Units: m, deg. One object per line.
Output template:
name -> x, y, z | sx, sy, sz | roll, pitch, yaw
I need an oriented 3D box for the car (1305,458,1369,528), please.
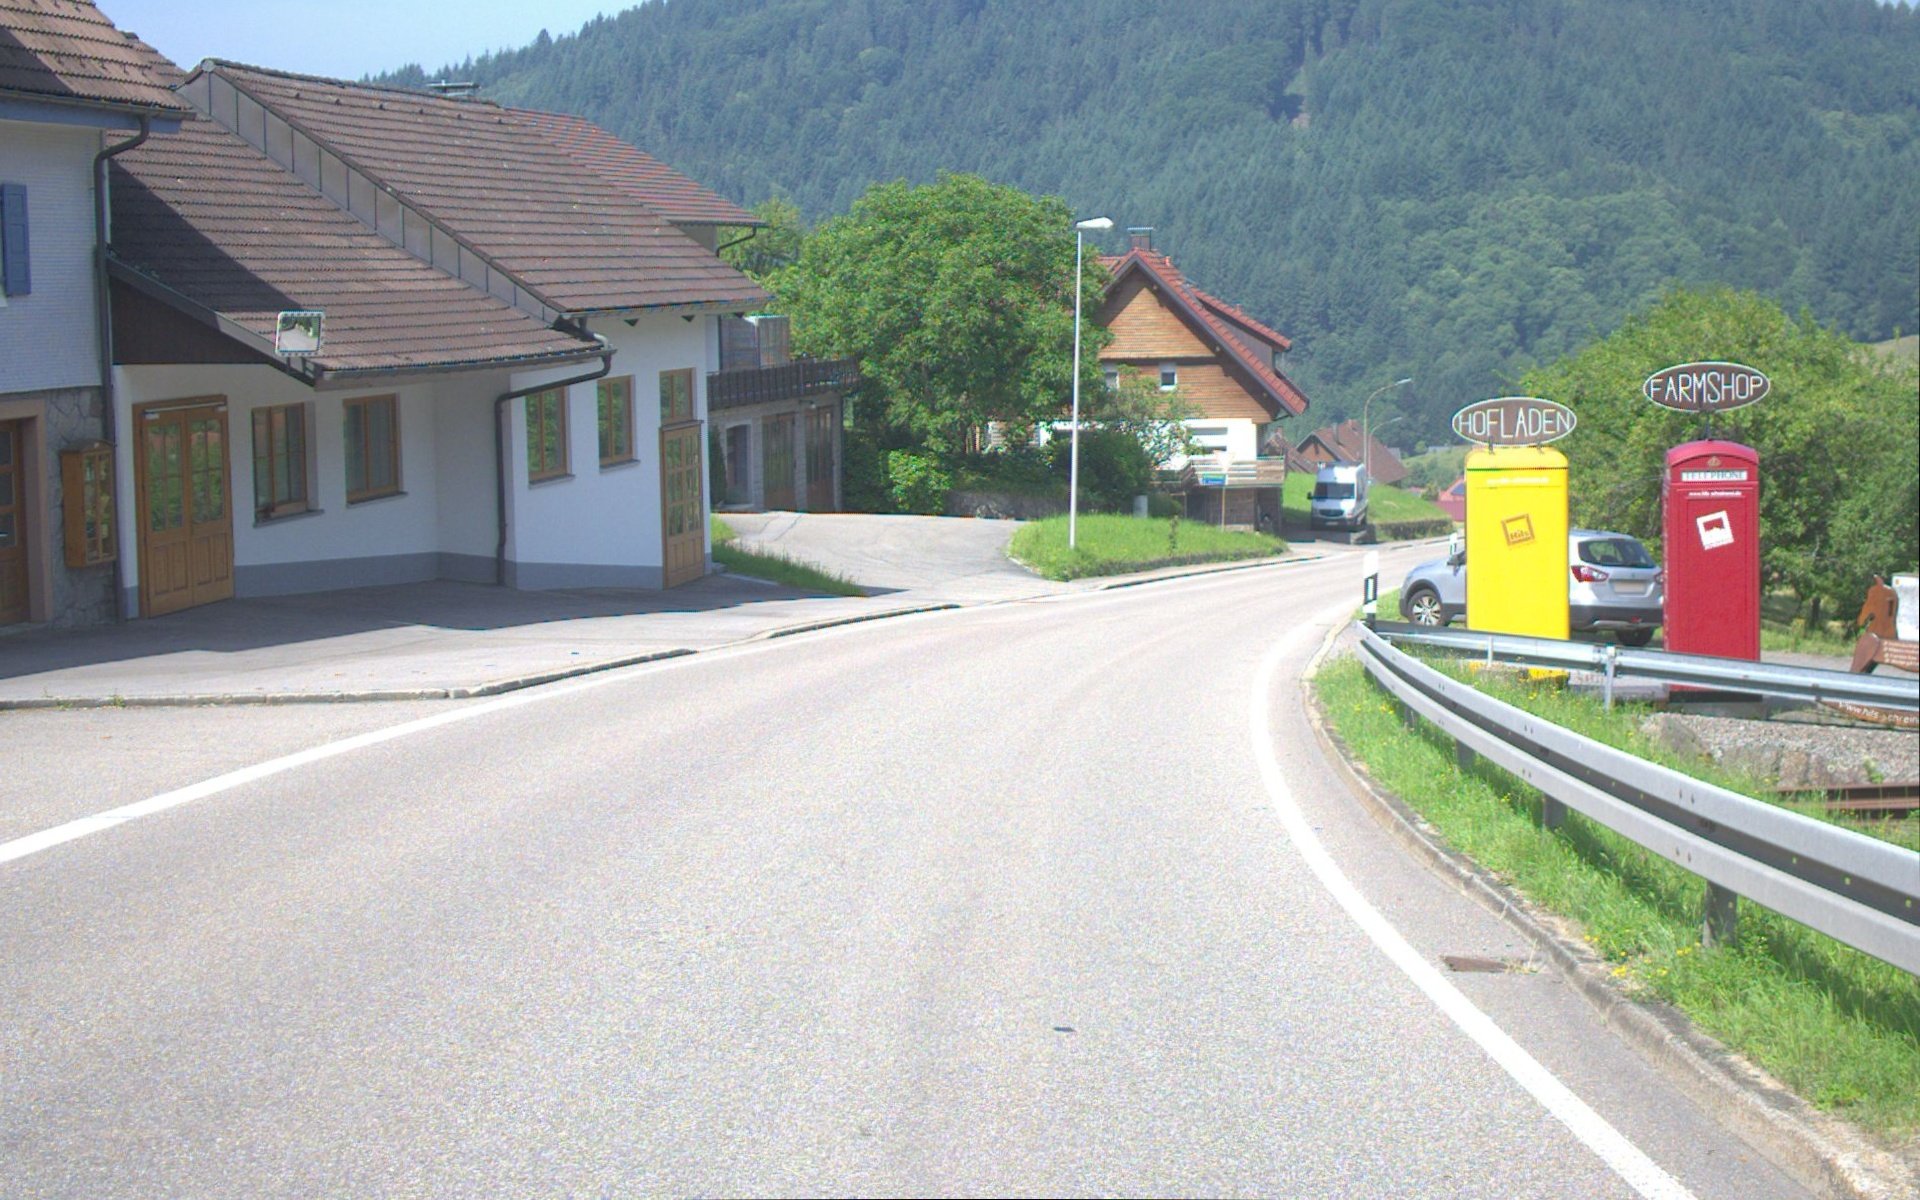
car -> 16.392, -4.669, 149.168 | 2.068, 2.679, 7.172 | 0, 5, 12

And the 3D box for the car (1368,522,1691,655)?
car -> 7.909, -0.190, 48.126 | 1.899, 1.565, 4.463 | 2, 2, -32
